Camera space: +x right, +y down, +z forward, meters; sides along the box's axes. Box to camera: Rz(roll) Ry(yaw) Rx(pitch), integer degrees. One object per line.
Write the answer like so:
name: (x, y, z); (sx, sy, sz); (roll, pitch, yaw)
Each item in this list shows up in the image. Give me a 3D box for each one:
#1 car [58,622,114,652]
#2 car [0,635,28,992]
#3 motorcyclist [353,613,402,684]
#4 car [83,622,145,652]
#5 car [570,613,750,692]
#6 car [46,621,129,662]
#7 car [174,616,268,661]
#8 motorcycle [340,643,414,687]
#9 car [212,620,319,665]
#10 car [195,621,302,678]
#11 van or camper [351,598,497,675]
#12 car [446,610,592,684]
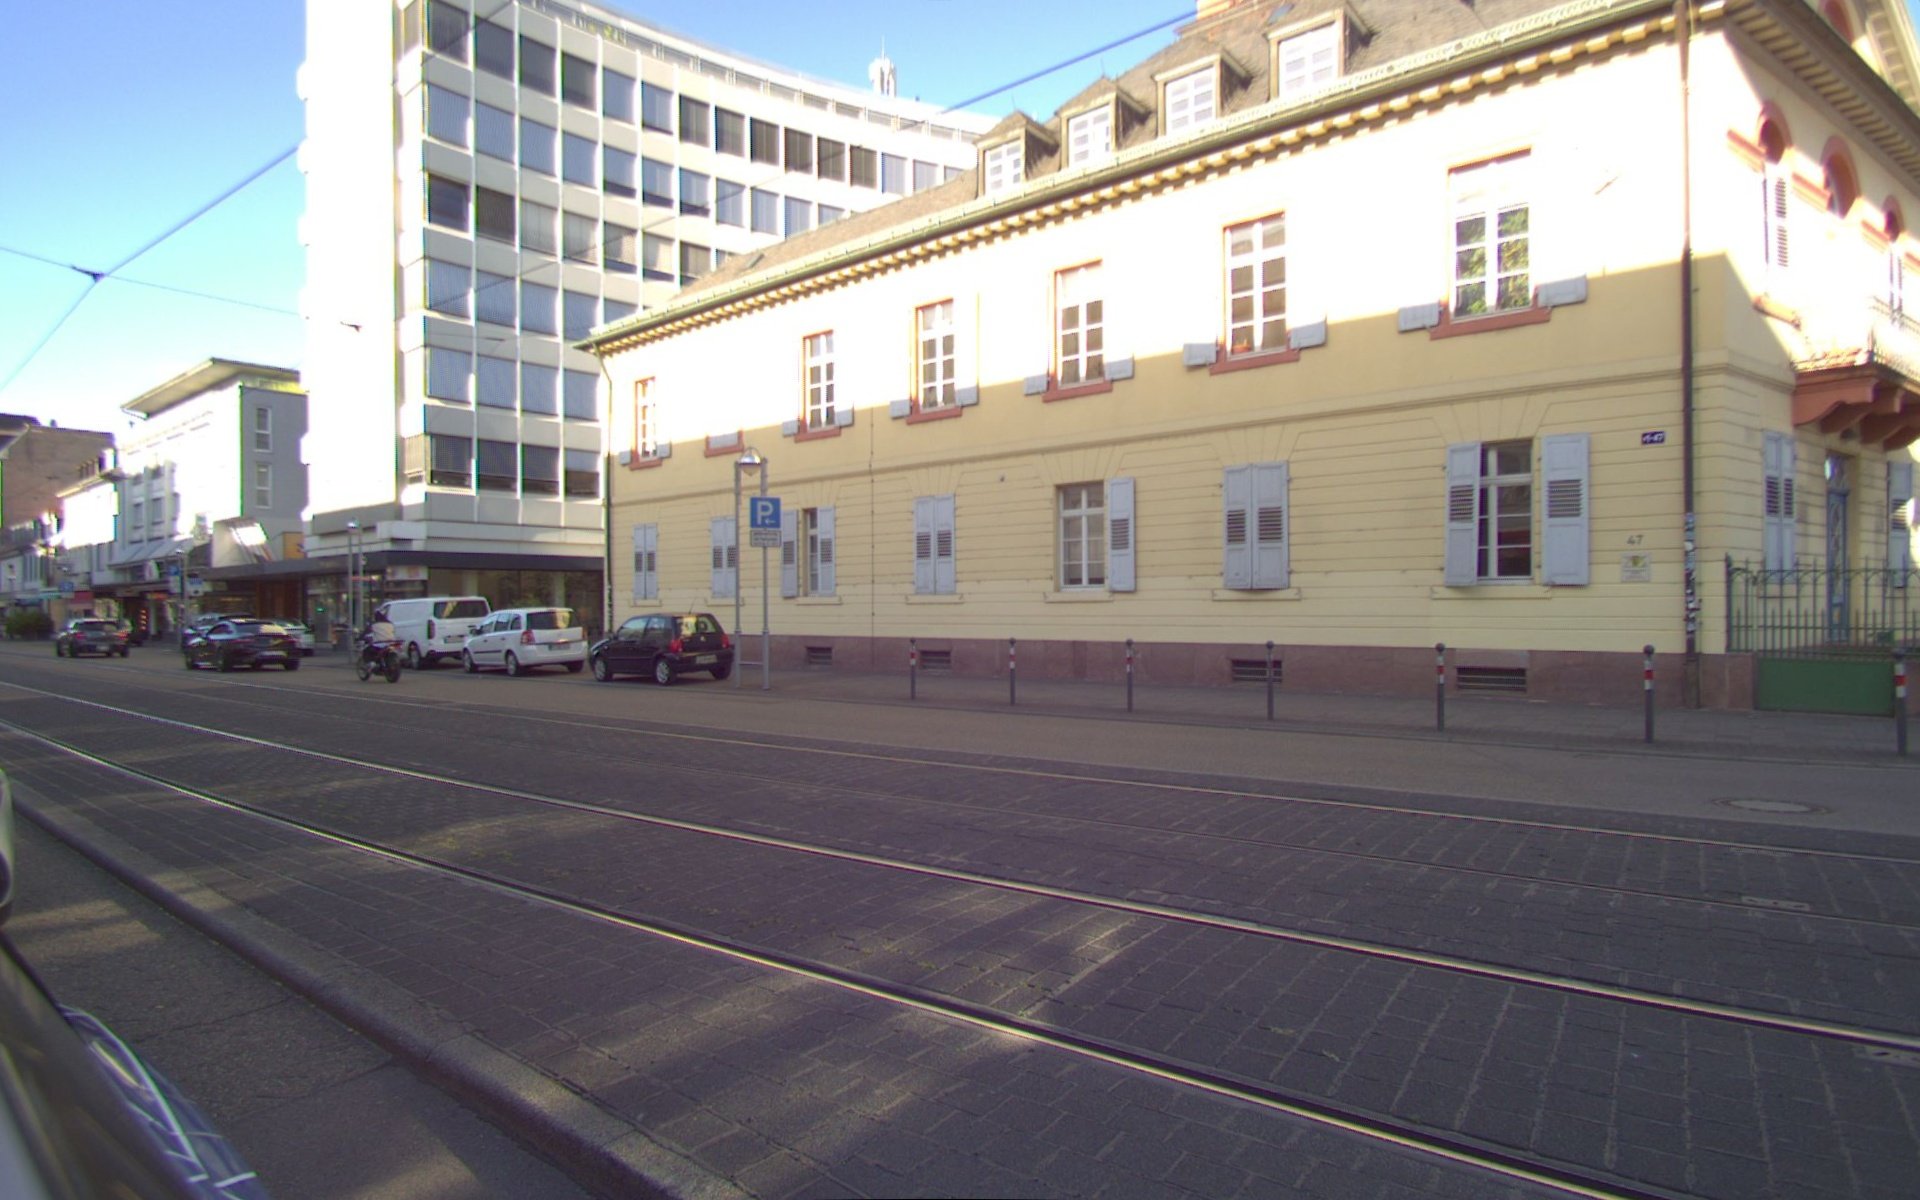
car: (-48.583, 2.015, 56.221); (3.830, 1.531, 1.764); (-1, 0, 40)
car: (-6.300, 0.884, 5.036); (4.771, 1.450, 1.845); (-1, -2, 40)
motorcyclist: (-13.328, 1.087, 23.148); (0.882, 1.570, 0.647); (-1, 0, 33)
car: (-43.812, 1.886, 52.386); (3.593, 1.427, 1.764); (-1, 0, 38)
car: (-6.421, 1.042, 21.506); (3.958, 1.450, 1.759); (-1, 1, 40)
car: (-33.780, 1.594, 39.157); (3.856, 1.521, 1.759); (-1, -2, 39)
car: (-29.930, 1.517, 40.958); (4.275, 1.654, 1.908); (-1, 1, 37)
motorcycle: (-13.382, 1.470, 23.202); (2.150, 0.933, 0.594); (-1, 0, 34)
car: (-25.747, 1.527, 37.474); (4.284, 1.463, 1.909); (-1, 1, 36)
car: (-20.571, 1.372, 29.178); (1.756, 1.521, 4.672); (2, -2, -45)
van or camper: (-15.433, 0.989, 29.027); (4.792, 1.988, 1.936); (-1, 1, 39)
car: (-11.087, 1.110, 25.344); (4.175, 1.632, 1.758); (-1, 1, 42)
